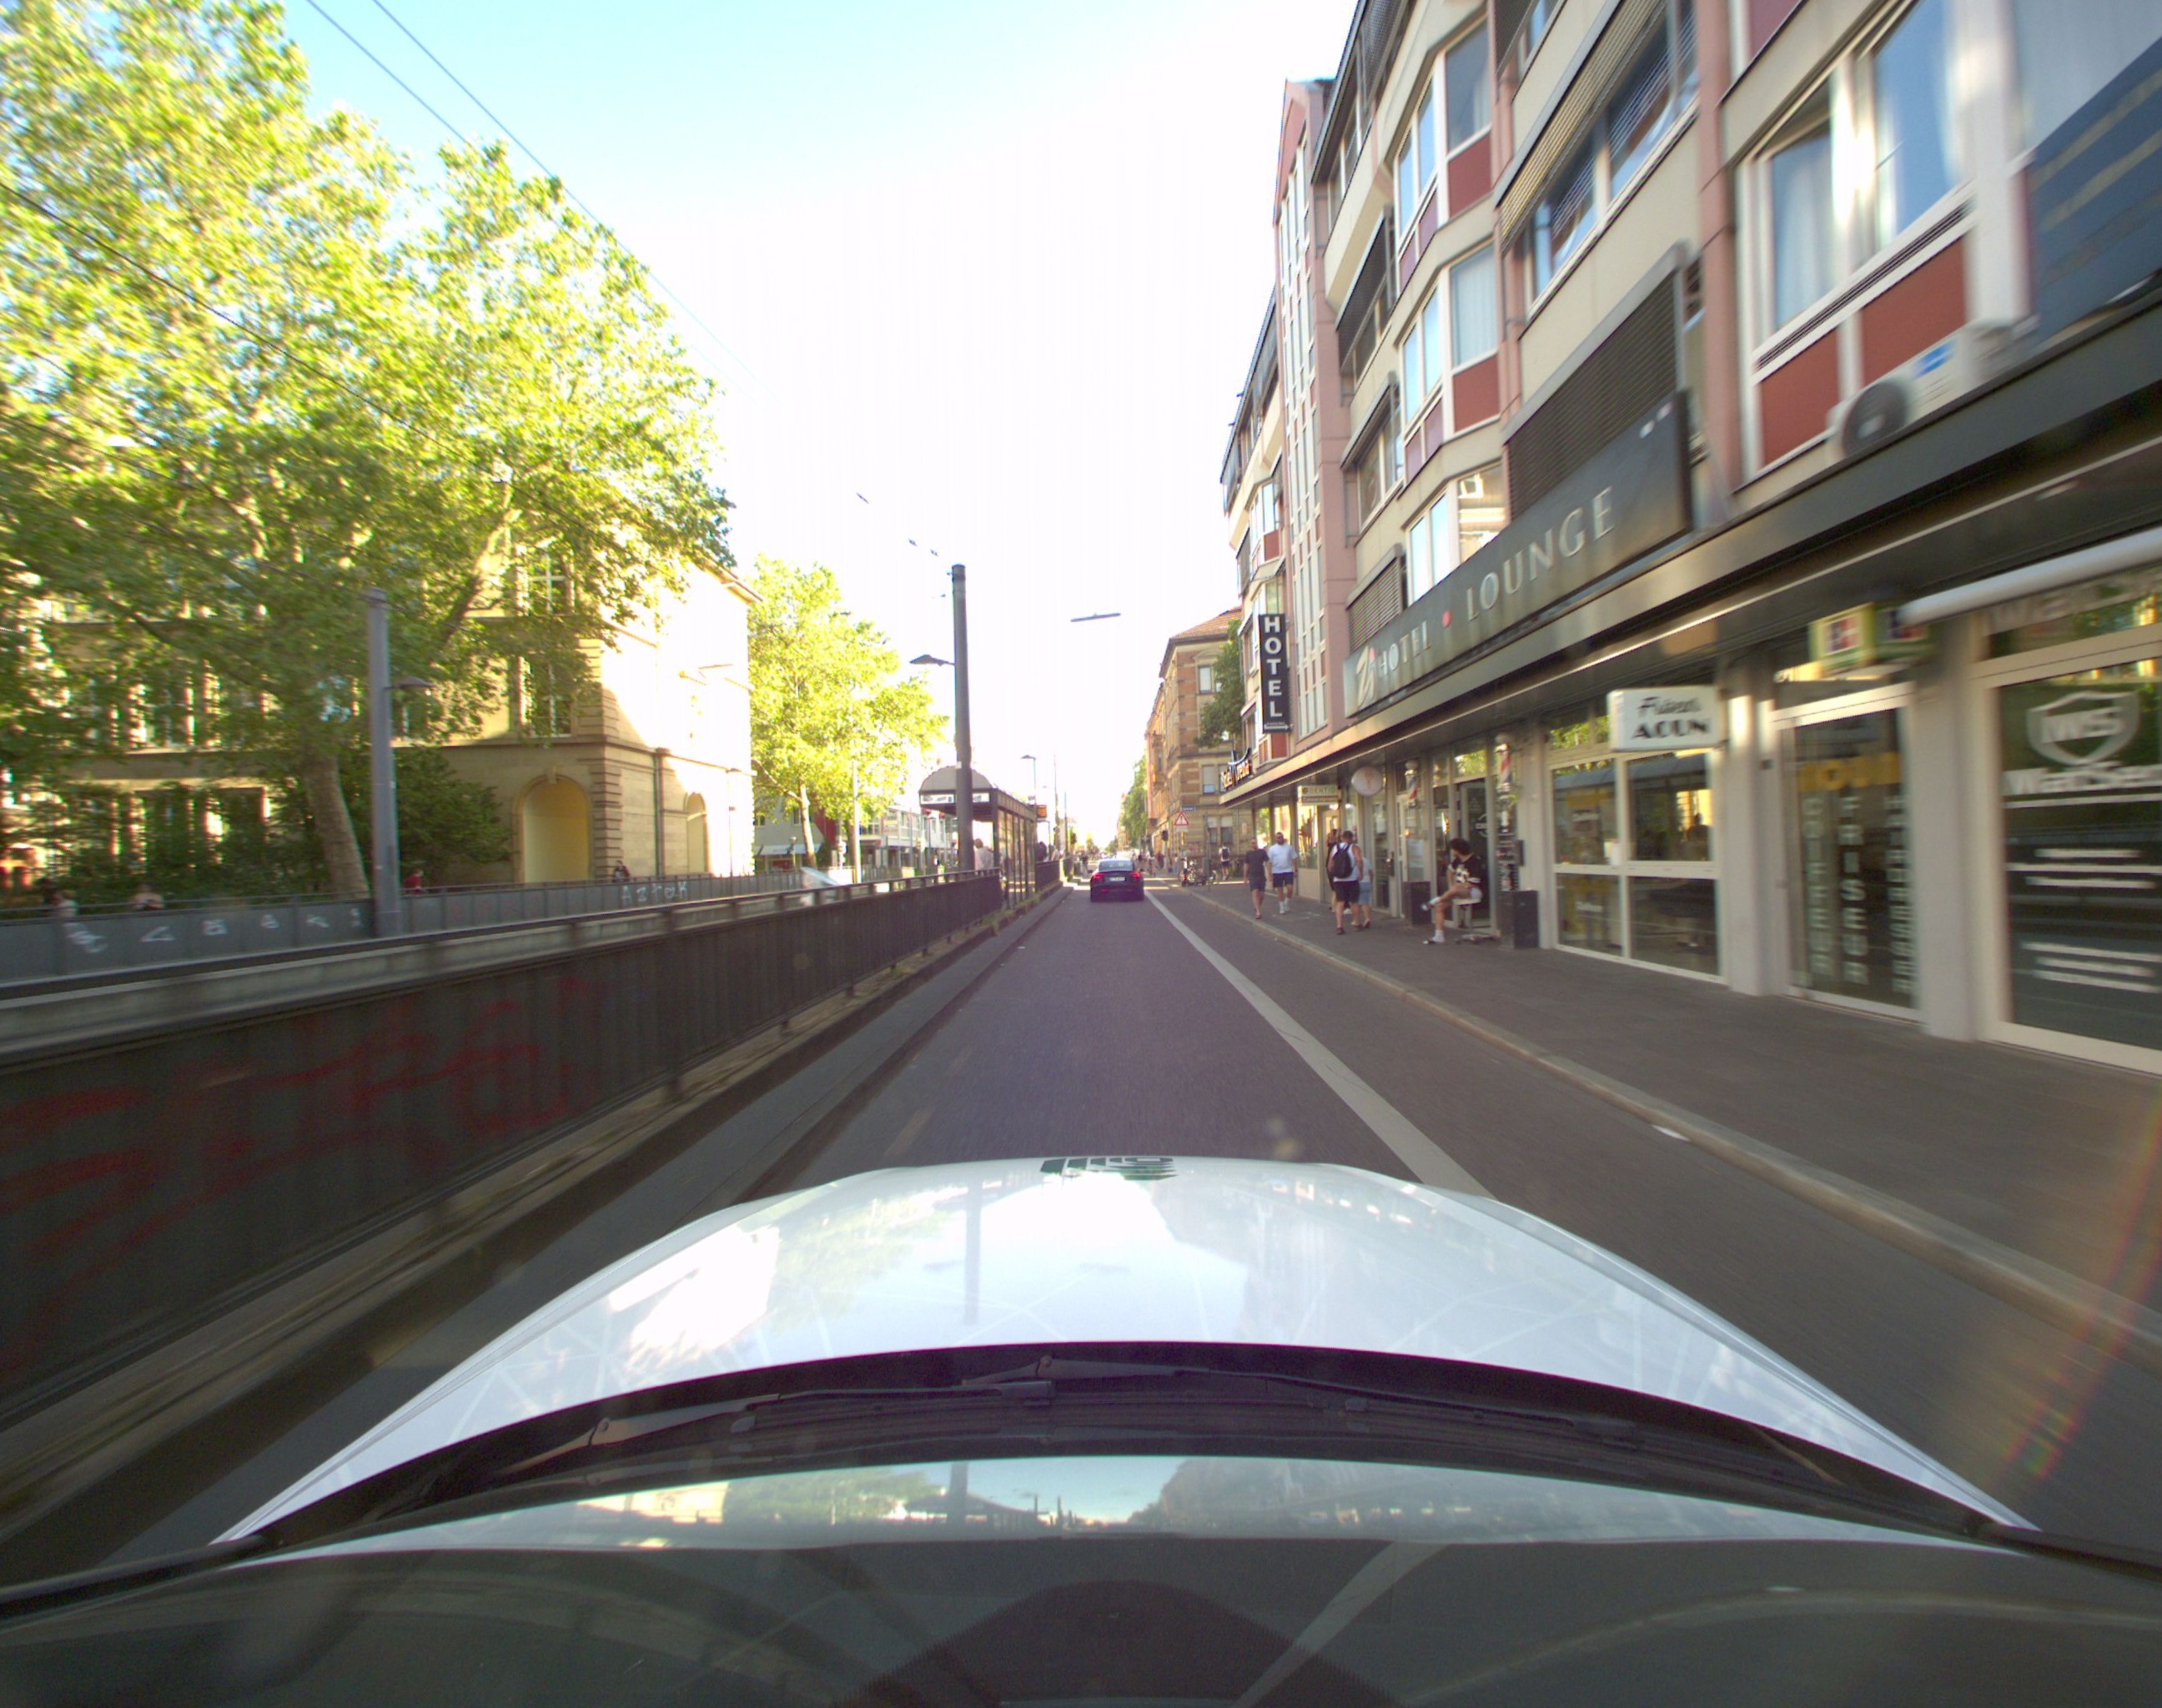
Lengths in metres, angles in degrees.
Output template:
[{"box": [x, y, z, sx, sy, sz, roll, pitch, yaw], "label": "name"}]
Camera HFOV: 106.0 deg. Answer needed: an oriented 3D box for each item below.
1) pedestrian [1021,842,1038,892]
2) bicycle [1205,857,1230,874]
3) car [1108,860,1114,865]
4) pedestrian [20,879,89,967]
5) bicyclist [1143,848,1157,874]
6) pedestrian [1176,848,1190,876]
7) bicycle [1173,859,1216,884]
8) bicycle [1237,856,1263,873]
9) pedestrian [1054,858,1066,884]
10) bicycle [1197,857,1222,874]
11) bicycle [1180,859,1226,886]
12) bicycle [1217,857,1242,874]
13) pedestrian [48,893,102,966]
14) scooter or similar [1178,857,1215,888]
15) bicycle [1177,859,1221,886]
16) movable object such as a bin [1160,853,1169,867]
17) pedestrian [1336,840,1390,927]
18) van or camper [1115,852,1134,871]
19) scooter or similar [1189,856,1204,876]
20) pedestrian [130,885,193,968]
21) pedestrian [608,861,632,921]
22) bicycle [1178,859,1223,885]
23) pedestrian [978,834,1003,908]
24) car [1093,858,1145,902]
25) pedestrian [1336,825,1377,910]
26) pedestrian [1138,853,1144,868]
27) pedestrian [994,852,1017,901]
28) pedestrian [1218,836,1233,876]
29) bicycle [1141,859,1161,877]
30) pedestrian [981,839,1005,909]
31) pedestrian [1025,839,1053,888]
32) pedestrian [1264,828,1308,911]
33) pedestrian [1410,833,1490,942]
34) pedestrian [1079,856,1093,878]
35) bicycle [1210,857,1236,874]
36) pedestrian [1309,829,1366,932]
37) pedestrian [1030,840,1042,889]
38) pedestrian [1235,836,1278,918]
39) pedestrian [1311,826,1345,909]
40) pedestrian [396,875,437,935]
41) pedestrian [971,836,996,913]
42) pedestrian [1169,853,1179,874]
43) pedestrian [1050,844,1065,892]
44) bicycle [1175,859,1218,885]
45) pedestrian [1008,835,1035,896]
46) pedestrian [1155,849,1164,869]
[{"box": [-1.713, 0.419, 27.169, 0.492, 1.648, 0.590, -2, 0, 0], "label": "pedestrian"}, {"box": [9.105, 0.785, 54.258, 0.446, 1.115, 1.794, -2, -1, -38], "label": "bicycle"}, {"box": [7.884, 2.257, 213.709, 1.587, 1.433, 3.688, -2, -1, 3], "label": "car"}, {"box": [-22.647, 1.502, 17.978, 0.703, 1.882, 0.627, -2, -1, 5], "label": "pedestrian"}, {"box": [4.440, 0.432, 52.319, 0.655, 1.656, 0.924, -1, -1, -12], "label": "bicyclist"}, {"box": [6.879, 0.542, 55.075, 0.843, 1.807, 0.878, -2, 0, 6], "label": "pedestrian"}, {"box": [5.440, 0.858, 39.160, 1.939, 1.107, 0.564, -2, 0, -1], "label": "bicycle"}, {"box": [11.377, 0.696, 54.708, 0.446, 1.115, 1.793, -2, -1, -39], "label": "bicycle"}, {"box": [-1.083, 0.890, 42.271, 0.475, 1.329, 0.356, -3, 0, 31], "label": "pedestrian"}, {"box": [8.539, 0.789, 54.186, 0.446, 1.115, 1.794, -2, -1, -38], "label": "bicycle"}, {"box": [5.447, 0.819, 36.483, 1.939, 1.107, 0.564, -2, 0, -1], "label": "bicycle"}, {"box": [9.962, 0.782, 54.721, 0.446, 1.115, 1.793, -2, -1, -39], "label": "bicycle"}, {"box": [-21.906, 1.642, 17.741, 0.581, 1.530, 0.474, -1, 0, 2], "label": "pedestrian"}, {"box": [5.083, 0.808, 35.877, 1.473, 1.229, 0.592, -4, -1, 2], "label": "scooter or similar"}, {"box": [5.457, 0.865, 37.751, 1.939, 1.166, 0.628, -2, 0, -1], "label": "bicycle"}, {"box": [8.174, 0.610, 79.759, 0.773, 1.347, 1.299, -2, -1, 0], "label": "movable object such as a bin"}, {"box": [5.078, 0.524, 14.702, 0.633, 1.483, 0.654, -4, -1, 1], "label": "pedestrian"}, {"box": [4.914, 0.855, 92.251, 1.924, 2.037, 5.476, -1, -1, 1], "label": "van or camper"}, {"box": [7.630, 0.761, 53.954, 0.391, 1.289, 1.515, -2, 0, -14], "label": "scooter or similar"}, {"box": [-20.947, 1.638, 18.562, 0.684, 1.806, 0.648, -2, -1, 2], "label": "pedestrian"}, {"box": [-15.914, 1.250, 28.131, 0.691, 2.014, 0.696, -1, -1, -29], "label": "pedestrian"}, {"box": [5.453, 0.829, 37.096, 1.939, 1.107, 0.564, -2, 0, -1], "label": "bicycle"}, {"box": [-1.955, 0.371, 17.690, 0.422, 1.573, 0.593, -1, 0, 2], "label": "pedestrian"}, {"box": [1.274, 0.850, 28.512, 1.713, 1.405, 3.710, -1, 0, 1], "label": "car"}, {"box": [5.909, 0.288, 17.488, 0.627, 1.769, 0.501, -3, -1, 2], "label": "pedestrian"}, {"box": [7.268, 0.761, 99.054, 0.670, 1.814, 0.756, -2, -1, 1], "label": "pedestrian"}, {"box": [-1.940, 0.585, 21.043, 0.538, 1.252, 0.460, -1, -1, 0], "label": "pedestrian"}, {"box": [7.492, 0.133, 42.155, 0.711, 1.985, 0.945, -1, -6, 10], "label": "pedestrian"}, {"box": [4.474, 0.882, 52.225, 0.648, 1.139, 2.087, -1, -1, -12], "label": "bicycle"}, {"box": [-2.007, 0.453, 18.641, 0.318, 1.572, 0.546, -1, -1, 22], "label": "pedestrian"}, {"box": [-1.603, 0.356, 30.997, 0.775, 1.831, 0.796, 0, -1, -29], "label": "pedestrian"}, {"box": [4.687, 0.354, 18.674, 0.703, 1.820, 0.763, -5, -1, 2], "label": "pedestrian"}, {"box": [5.291, 0.469, 11.727, 0.735, 1.472, 0.707, -5, -1, 2], "label": "pedestrian"}, {"box": [0.352, 0.900, 57.152, 0.837, 1.549, 0.701, -2, 0, 10], "label": "pedestrian"}, {"box": [9.506, 0.783, 54.509, 0.446, 1.115, 1.793, -2, -1, -39], "label": "bicycle"}, {"box": [4.430, 0.451, 14.095, 0.741, 1.727, 0.815, 0, -1, 2], "label": "pedestrian"}, {"box": [-1.547, 0.363, 28.133, 0.350, 1.669, 0.529, -2, 0, 0], "label": "pedestrian"}, {"box": [3.882, 0.508, 18.051, 0.665, 1.728, 0.810, -4, -1, 1], "label": "pedestrian"}, {"box": [5.662, 0.307, 18.668, 0.449, 1.849, 0.812, -3, 0, 1], "label": "pedestrian"}, {"box": [-19.773, 1.508, 24.244, 0.676, 1.712, 0.614, -1, 0, 0], "label": "pedestrian"}, {"box": [-2.018, 0.420, 16.851, 0.422, 1.573, 0.448, -1, 0, 2], "label": "pedestrian"}, {"box": [6.498, 0.668, 56.809, 0.570, 1.414, 0.583, 0, -1, 16], "label": "pedestrian"}, {"box": [-1.052, 0.617, 36.106, 0.536, 2.120, 0.808, -2, -1, 1], "label": "pedestrian"}, {"box": [5.450, 0.850, 38.512, 1.939, 1.107, 0.564, -2, 0, -1], "label": "bicycle"}, {"box": [-1.764, 0.339, 24.396, 0.687, 1.765, 0.748, -2, 0, 0], "label": "pedestrian"}, {"box": [6.901, 0.432, 71.889, 0.464, 1.728, 0.591, -2, 0, 38], "label": "pedestrian"}]
